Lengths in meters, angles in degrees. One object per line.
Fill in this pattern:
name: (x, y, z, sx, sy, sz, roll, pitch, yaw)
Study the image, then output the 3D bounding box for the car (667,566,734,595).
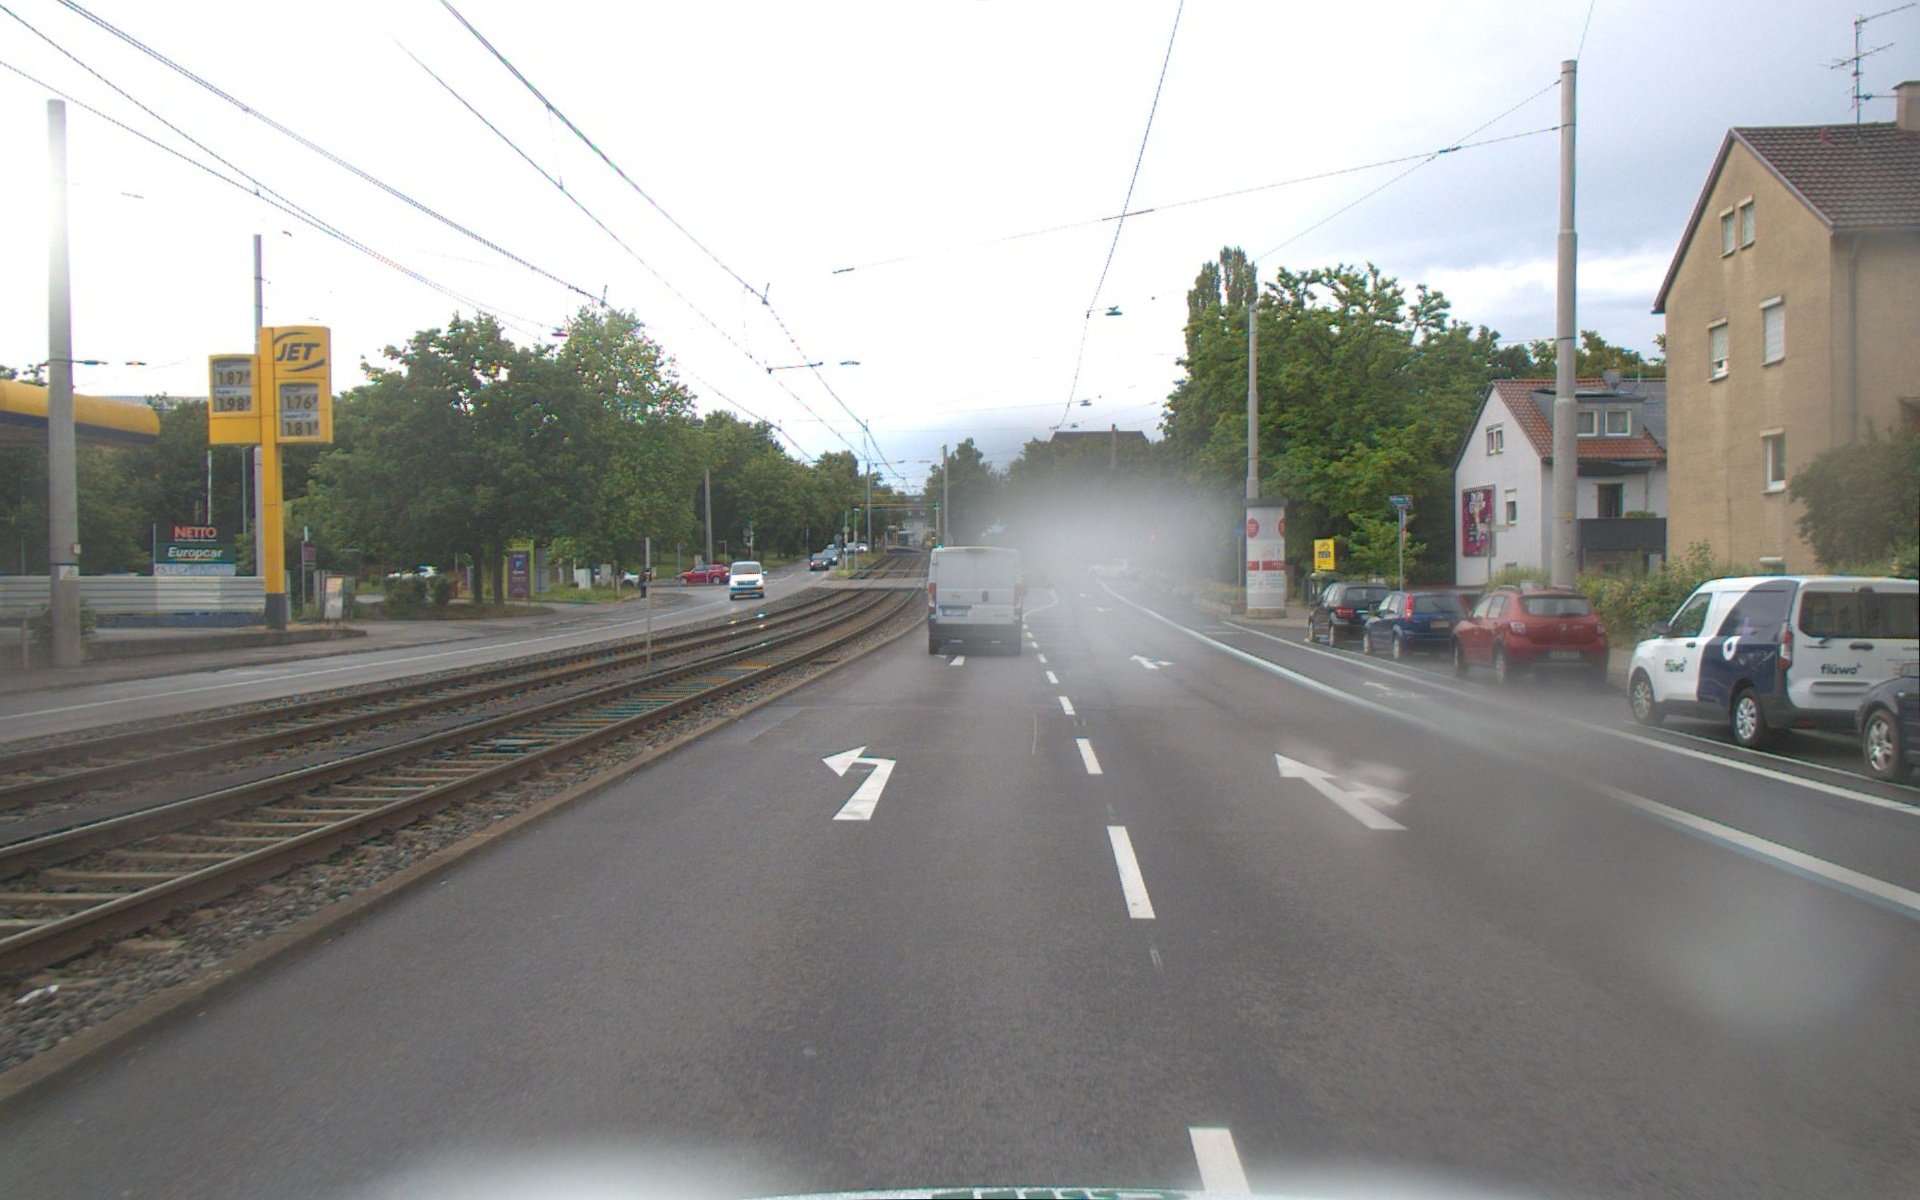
car: (-18.971, -1.420, 120.971, 4.416, 2.049, 2.002, 1, -1, 9)

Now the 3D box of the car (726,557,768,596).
car: (-11.711, -1.259, 90.809, 1.958, 2.049, 4.515, 1, -1, -11)

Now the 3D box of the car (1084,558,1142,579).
car: (11.232, -2.309, 121.413, 4.112, 1.502, 1.656, 0, 0, 43)

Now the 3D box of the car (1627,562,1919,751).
car: (8.990, 0.535, 18.246, 1.711, 1.839, 3.955, 1, 1, 1)

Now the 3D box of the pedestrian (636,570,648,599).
pedestrian: (-16.992, -0.829, 88.398, 0.601, 1.501, 0.641, -1, 0, -11)

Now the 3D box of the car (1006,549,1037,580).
car: (4.391, -2.510, 119.078, 1.953, 2.049, 3.999, 1, -1, -1)

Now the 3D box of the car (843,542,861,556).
car: (-14.126, -6.670, 216.743, 1.952, 1.680, 4.001, -1, 0, 1)

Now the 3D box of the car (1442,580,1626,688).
car: (9.677, 0.513, 28.188, 1.809, 1.674, 3.955, 1, 1, 1)

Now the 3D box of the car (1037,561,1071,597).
car: (5.694, -1.275, 100.548, 1.952, 2.049, 4.001, 1, -1, 2)

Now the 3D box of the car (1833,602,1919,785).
car: (8.589, 0.787, 12.864, 1.612, 1.471, 3.955, 1, 0, 2)

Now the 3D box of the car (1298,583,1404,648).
car: (9.784, 0.376, 41.662, 1.809, 1.526, 3.955, 1, 0, 1)

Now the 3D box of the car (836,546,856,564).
car: (-13.753, -5.405, 199.285, 1.952, 2.049, 4.000, 1, -1, 1)

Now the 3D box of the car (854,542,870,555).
car: (-13.995, -7.335, 236.497, 1.952, 1.680, 4.001, -1, 0, 1)

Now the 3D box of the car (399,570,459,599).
car: (-39.225, -1.129, 122.279, 3.914, 2.049, 1.995, 1, -1, -10)

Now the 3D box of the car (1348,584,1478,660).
car: (9.746, 0.450, 35.885, 1.809, 1.526, 3.955, 1, 0, 1)

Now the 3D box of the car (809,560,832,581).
car: (-12.320, -2.620, 146.527, 1.655, 1.741, 3.777, 1, -1, 1)

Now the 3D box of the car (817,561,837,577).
car: (-13.244, -3.076, 165.047, 1.655, 1.602, 3.777, -1, 0, 1)

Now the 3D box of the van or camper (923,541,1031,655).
van or camper: (0.312, -0.019, 36.168, 2.154, 2.292, 4.683, 1, -1, -1)
